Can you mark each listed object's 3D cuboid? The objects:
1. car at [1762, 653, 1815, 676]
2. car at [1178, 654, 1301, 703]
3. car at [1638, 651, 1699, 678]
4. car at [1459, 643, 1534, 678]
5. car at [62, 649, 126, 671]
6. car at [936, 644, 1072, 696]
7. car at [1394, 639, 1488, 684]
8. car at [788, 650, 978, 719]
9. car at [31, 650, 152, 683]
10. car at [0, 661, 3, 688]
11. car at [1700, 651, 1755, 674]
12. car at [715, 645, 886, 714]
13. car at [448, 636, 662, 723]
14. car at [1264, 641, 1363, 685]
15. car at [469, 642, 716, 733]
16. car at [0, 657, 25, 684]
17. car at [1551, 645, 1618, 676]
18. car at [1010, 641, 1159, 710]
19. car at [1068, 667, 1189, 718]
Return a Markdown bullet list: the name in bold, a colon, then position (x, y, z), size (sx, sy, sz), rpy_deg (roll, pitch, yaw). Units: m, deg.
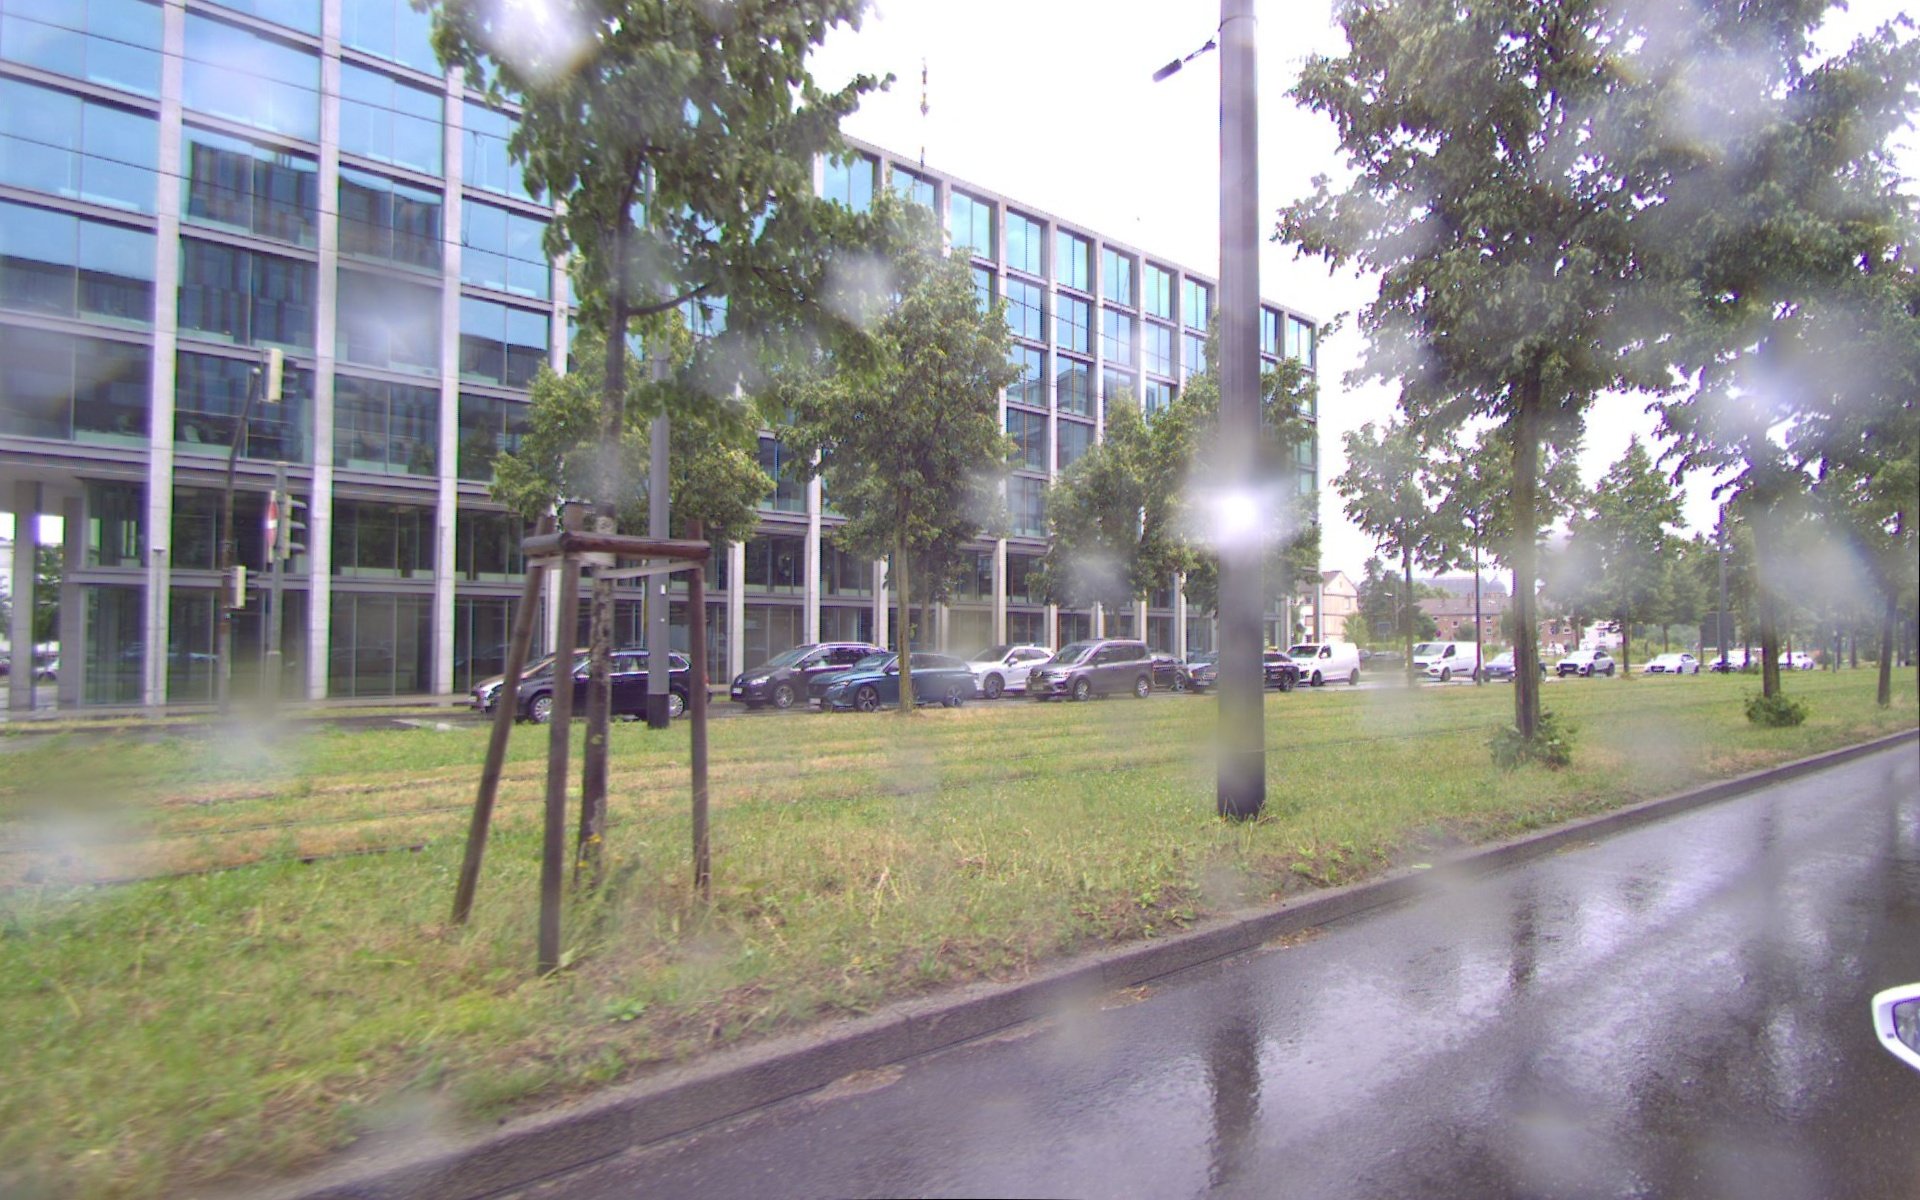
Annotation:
- **car**: position (63.593, 4.915, 77.080), size (4.783, 1.480, 1.938), rpy_deg (-1, -1, -36)
- **car**: position (9.867, 2.702, 35.290), size (4.567, 1.404, 1.934), rpy_deg (-1, -1, -40)
- **car**: position (43.374, 3.908, 61.450), size (4.538, 1.533, 1.935), rpy_deg (2, -3, -40)
- **car**: position (26.818, 2.979, 50.218), size (3.928, 1.514, 1.935), rpy_deg (-1, -1, -39)
- **car**: position (-77.245, 5.327, 89.661), size (3.953, 1.684, 1.984), rpy_deg (-1, -1, -31)
- **car**: position (1.474, 2.215, 32.534), size (4.239, 1.404, 1.934), rpy_deg (0, -1, -42)
- **car**: position (24.777, 3.112, 51.683), size (5.325, 2.033, 2.251), rpy_deg (-1, -1, -38)
- **car**: position (-1.836, 2.030, 24.972), size (4.437, 1.404, 1.934), rpy_deg (-1, -2, -41)
- **car**: position (-47.423, 3.625, 54.969), size (4.597, 1.528, 1.988), rpy_deg (-1, -1, -26)
- **car**: position (-62.716, 4.770, 62.649), size (3.953, 1.684, 1.984), rpy_deg (-1, -1, -31)
- **car**: position (50.709, 4.118, 66.365), size (4.538, 1.471, 1.935), rpy_deg (2, -3, -40)
- **car**: position (-4.310, 2.105, 27.486), size (4.239, 1.560, 1.934), rpy_deg (0, -1, -42)
- **car**: position (-9.410, 1.775, 23.508), size (4.238, 1.716, 1.934), rpy_deg (-1, -1, -41)
- **car**: position (15.722, 2.748, 44.528), size (4.991, 1.674, 1.934), rpy_deg (0, -1, -42)
- **car**: position (-7.504, 1.713, 20.733), size (4.427, 1.579, 1.935), rpy_deg (0, -2, -40)
- **car**: position (-64.028, 4.697, 65.597), size (3.953, 1.684, 1.984), rpy_deg (-1, -1, -31)
- **car**: position (38.010, 3.644, 61.098), size (4.533, 1.772, 1.937), rpy_deg (2, -3, -37)
- **car**: position (3.799, 2.187, 30.258), size (4.506, 1.873, 1.935), rpy_deg (1, -2, -40)
- **car**: position (6.163, 3.293, 36.423), size (4.590, 1.465, 1.842), rpy_deg (0, -1, -42)
